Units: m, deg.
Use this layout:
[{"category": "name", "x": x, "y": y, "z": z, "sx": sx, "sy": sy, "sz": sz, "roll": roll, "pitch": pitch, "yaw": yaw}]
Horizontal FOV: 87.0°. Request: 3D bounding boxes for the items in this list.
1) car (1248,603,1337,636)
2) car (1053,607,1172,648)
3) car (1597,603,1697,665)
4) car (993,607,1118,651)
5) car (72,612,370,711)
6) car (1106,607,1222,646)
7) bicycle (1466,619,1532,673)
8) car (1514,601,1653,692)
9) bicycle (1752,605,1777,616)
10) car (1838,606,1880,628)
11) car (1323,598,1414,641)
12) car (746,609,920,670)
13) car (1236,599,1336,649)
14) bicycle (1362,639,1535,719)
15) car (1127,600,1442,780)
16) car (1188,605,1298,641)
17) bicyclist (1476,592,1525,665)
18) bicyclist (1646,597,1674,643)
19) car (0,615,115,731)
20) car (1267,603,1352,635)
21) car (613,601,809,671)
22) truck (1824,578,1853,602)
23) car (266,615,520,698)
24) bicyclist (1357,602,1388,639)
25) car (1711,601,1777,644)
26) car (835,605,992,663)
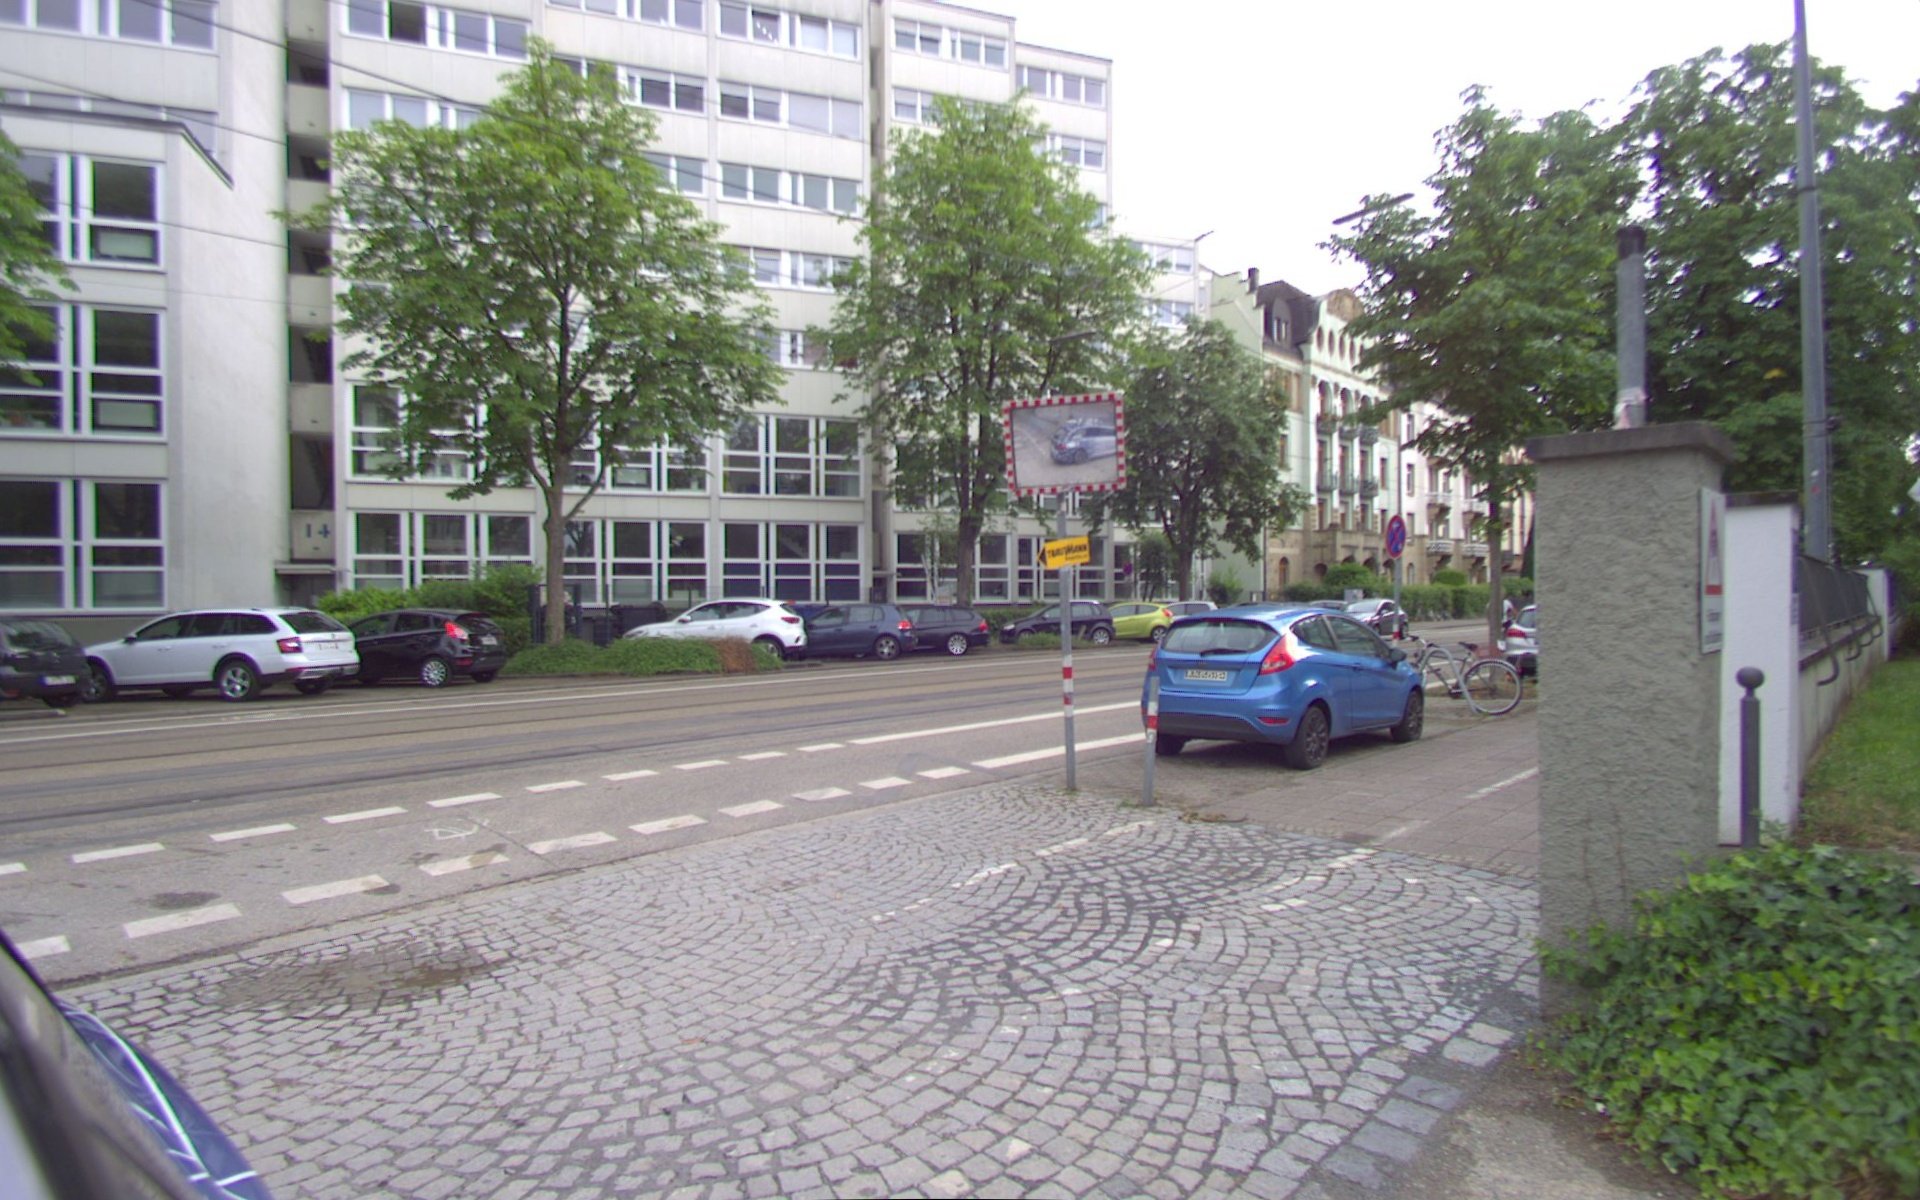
[{"category": "car", "x": 14.826, "y": 0.835, "z": 45.115, "sx": 3.693, "sy": 1.396, "sz": 1.688, "roll": 1, "pitch": 0, "yaw": 21}, {"category": "car", "x": 5.310, "y": 0.958, "z": 35.577, "sx": 3.912, "sy": 1.362, "sz": 1.700, "roll": 0, "pitch": 0, "yaw": 0}, {"category": "car", "x": 15.962, "y": 0.745, "z": 23.473, "sx": 1.513, "sy": 1.312, "sz": 3.135, "roll": -1, "pitch": 0, "yaw": 41}, {"category": "car", "x": 3.074, "y": 0.930, "z": 33.213, "sx": 3.912, "sy": 1.362, "sz": 1.700, "roll": 0, "pitch": 0, "yaw": 0}, {"category": "car", "x": -12.283, "y": 0.976, "z": 16.941, "sx": 3.980, "sy": 1.495, "sz": 1.696, "roll": 0, "pitch": 0, "yaw": 7}, {"category": "car", "x": 7.530, "y": 0.984, "z": 37.594, "sx": 3.912, "sy": 1.362, "sz": 1.700, "roll": 0, "pitch": 0, "yaw": 0}, {"category": "bicycle", "x": 12.039, "y": 1.004, "z": 22.580, "sx": 1.837, "sy": 1.125, "sz": 0.667, "roll": 0, "pitch": 1, "yaw": -41}, {"category": "car", "x": 11.487, "y": 0.771, "z": 18.555, "sx": 1.481, "sy": 1.492, "sz": 3.514, "roll": 0, "pitch": 0, "yaw": 44}, {"category": "bicycle", "x": 58.527, "y": 0.757, "z": 73.630, "sx": 1.448, "sy": 0.806, "sz": 0.429, "roll": -1, "pitch": -1, "yaw": 38}, {"category": "car", "x": 59.222, "y": 1.102, "z": 66.661, "sx": 3.738, "sy": 1.409, "sz": 1.777, "roll": 0, "pitch": -1, "yaw": -44}, {"category": "car", "x": 14.418, "y": 0.661, "z": 35.636, "sx": 1.746, "sy": 1.440, "sz": 3.944, "roll": -1, "pitch": -1, "yaw": 42}, {"category": "car", "x": -3.204, "y": 0.997, "z": 26.097, "sx": 4.285, "sy": 1.465, "sz": 1.700, "roll": 0, "pitch": 0, "yaw": 0}, {"category": "car", "x": 13.835, "y": 0.999, "z": 43.009, "sx": 3.968, "sy": 2.029, "sz": 1.988, "roll": 0, "pitch": 0, "yaw": 19}, {"category": "bicycle", "x": 6.498, "y": 1.026, "z": 13.545, "sx": 2.018, "sy": 0.964, "sz": 0.526, "roll": -1, "pitch": -1, "yaw": 41}, {"category": "car", "x": 3.368, "y": 0.774, "z": 10.197, "sx": 1.680, "sy": 1.472, "sz": 3.383, "roll": -3, "pitch": -2, "yaw": 44}, {"category": "car", "x": 11.403, "y": 0.910, "z": 40.927, "sx": 3.912, "sy": 1.362, "sz": 1.700, "roll": 0, "pitch": 0, "yaw": 0}, {"category": "bicyclist", "x": 12.084, "y": 0.619, "z": 22.609, "sx": 0.970, "sy": 1.581, "sz": 0.665, "roll": 0, "pitch": 0, "yaw": -40}, {"category": "bicyclist", "x": 25.128, "y": 0.720, "z": 36.338, "sx": 0.906, "sy": 1.623, "sz": 0.660, "roll": 0, "pitch": -1, "yaw": -44}, {"category": "car", "x": -14.758, "y": 1.006, "z": 14.663, "sx": 3.654, "sy": 1.535, "sz": 1.700, "roll": 0, "pitch": 0, "yaw": 1}, {"category": "car", "x": 16.418, "y": 0.860, "z": 47.586, "sx": 3.693, "sy": 1.396, "sz": 1.688, "roll": 1, "pitch": 0, "yaw": 21}, {"category": "car", "x": -5.791, "y": 0.834, "z": 23.942, "sx": 4.281, "sy": 1.567, "sz": 1.702, "roll": 0, "pitch": 0, "yaw": -4}, {"category": "truck", "x": 156.121, "y": -1.723, "z": 179.872, "sx": 3.818, "sy": 4.060, "sz": 10.078, "roll": -1, "pitch": -1, "yaw": 41}, {"category": "car", "x": -10.636, "y": 1.021, "z": 19.109, "sx": 3.980, "sy": 1.416, "sz": 1.696, "roll": 0, "pitch": 0, "yaw": 7}, {"category": "bicyclist", "x": 17.323, "y": 0.869, "z": 42.516, "sx": 1.012, "sy": 1.512, "sz": 0.846, "roll": 0, "pitch": -1, "yaw": -45}, {"category": "car", "x": 25.858, "y": 0.715, "z": 33.366, "sx": 1.513, "sy": 1.312, "sz": 3.135, "roll": -1, "pitch": 0, "yaw": 41}, {"category": "car", "x": -1.300, "y": 0.946, "z": 28.566, "sx": 4.285, "sy": 1.547, "sz": 1.700, "roll": 0, "pitch": 0, "yaw": 0}]
